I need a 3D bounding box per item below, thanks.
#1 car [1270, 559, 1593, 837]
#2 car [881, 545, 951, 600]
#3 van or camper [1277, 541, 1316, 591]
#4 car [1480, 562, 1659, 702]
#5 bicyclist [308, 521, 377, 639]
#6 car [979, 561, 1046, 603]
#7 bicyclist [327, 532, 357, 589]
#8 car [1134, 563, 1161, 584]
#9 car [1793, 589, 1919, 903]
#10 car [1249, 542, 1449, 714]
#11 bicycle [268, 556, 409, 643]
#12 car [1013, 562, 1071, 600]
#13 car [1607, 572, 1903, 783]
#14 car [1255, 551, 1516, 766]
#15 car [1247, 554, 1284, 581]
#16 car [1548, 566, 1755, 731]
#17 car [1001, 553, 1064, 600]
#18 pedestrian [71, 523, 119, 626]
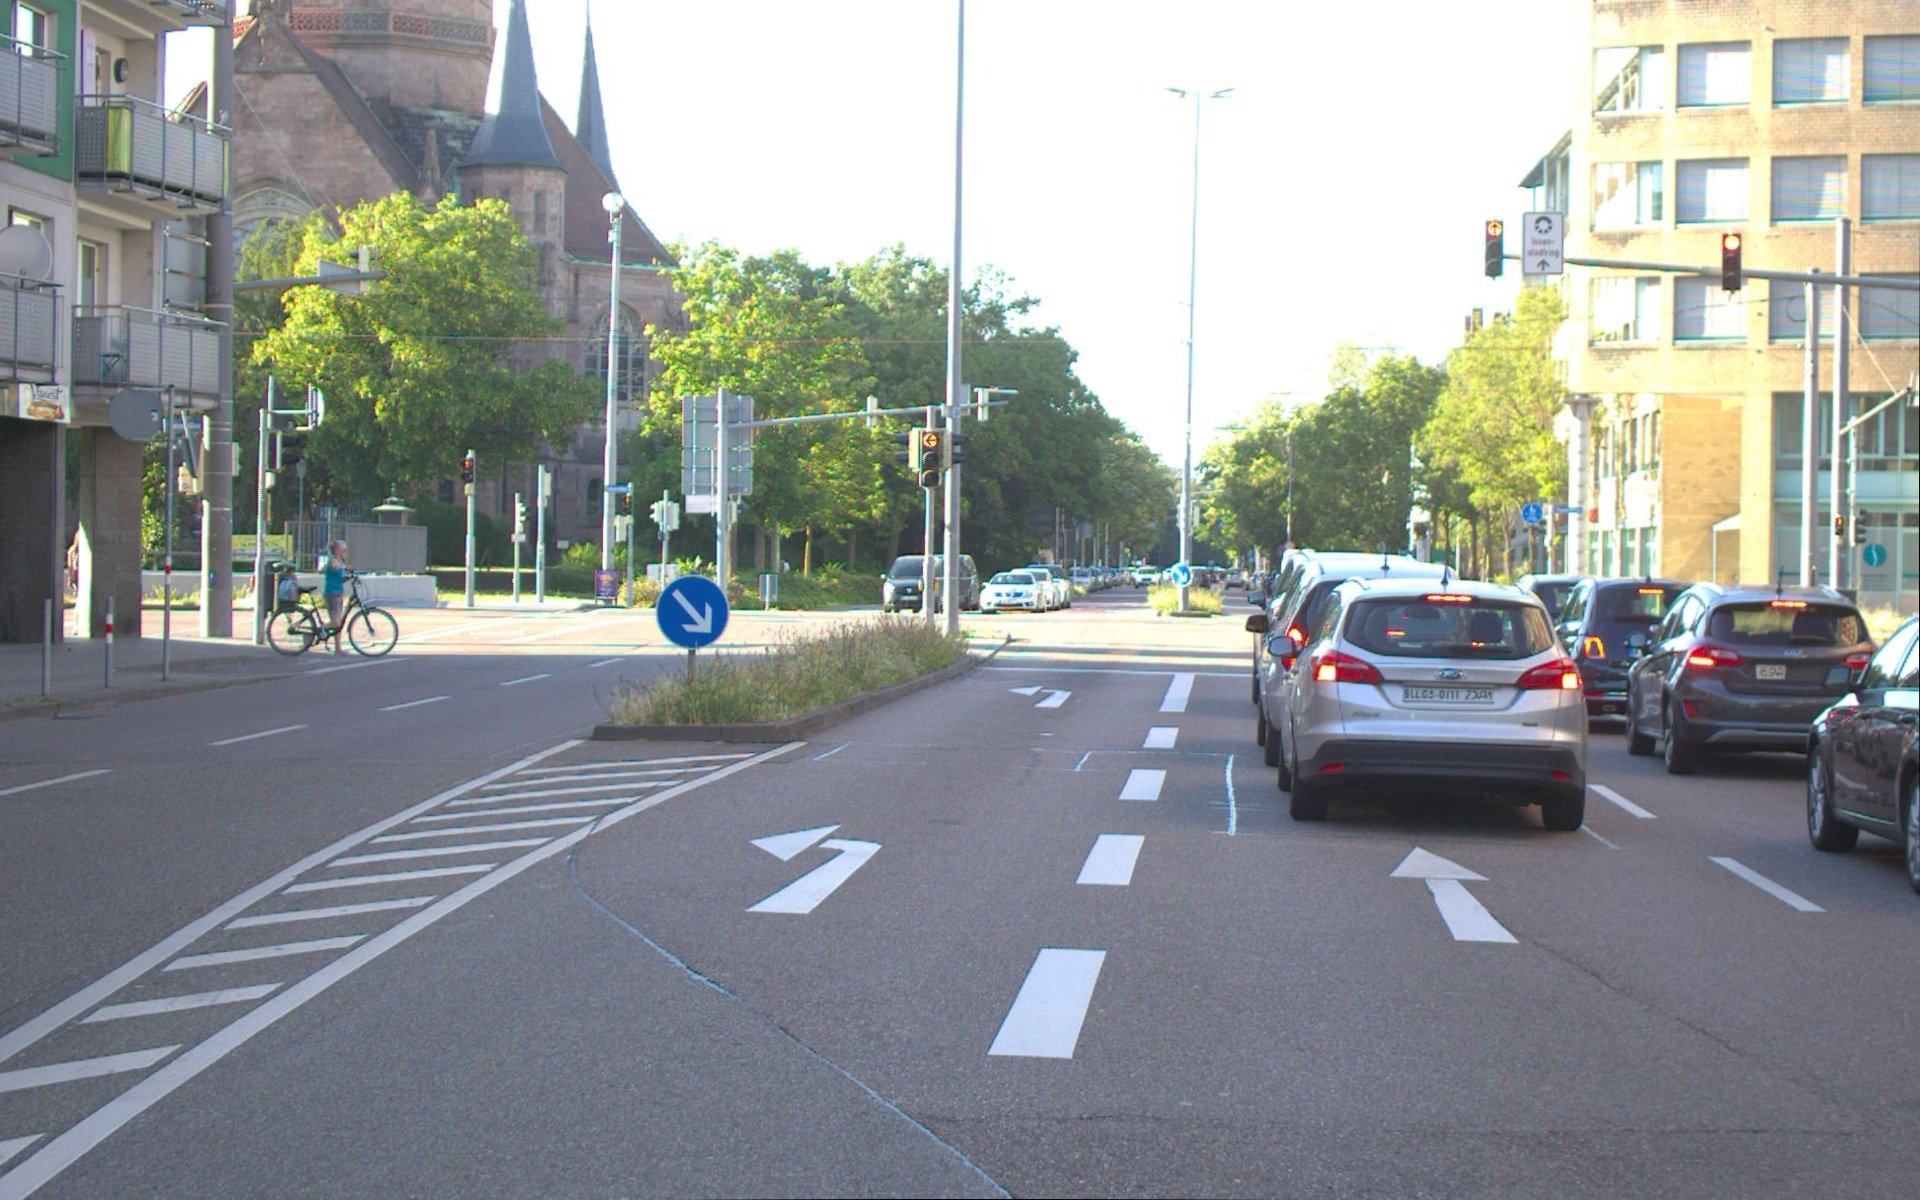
[{"bbox_3d":[2.890,0.533,21.835,1.708,1.504,4.308,2,1,4],"label":"car"},{"bbox_3d":[-1.345,-0.881,107.260,1.780,1.641,3.999,1,1,5],"label":"car"},{"bbox_3d":[18.118,-1.835,184.852,1.994,2.631,5.349,1,1,6],"label":"van or camper"},{"bbox_3d":[6.928,0.331,39.380,1.585,1.442,3.647,2,1,4],"label":"car"},{"bbox_3d":[-8.764,-0.291,48.826,0.782,1.654,0.901,1,1,2],"label":"bicyclist"},{"bbox_3d":[1.631,-0.566,106.467,1.780,1.232,3.999,1,1,5],"label":"car"},{"bbox_3d":[-18.434,-1.171,102.536,0.779,1.688,0.641,1,1,-4],"label":"bicyclist"},{"bbox_3d":[13.619,-1.917,249.823,1.780,1.444,3.999,1,1,5],"label":"car"},{"bbox_3d":[5.556,0.710,17.846,1.708,1.452,4.158,1,1,4],"label":"car"},{"bbox_3d":[3.944,0.233,35.431,1.784,1.627,4.478,1,1,3],"label":"car"},{"bbox_3d":[-8.781,-0.015,48.637,1.827,1.184,0.734,1,1,3],"label":"bicycle"},{"bbox_3d":[2.900,-0.672,120.342,1.780,1.232,3.999,1,1,5],"label":"car"},{"bbox_3d":[6.349,0.564,27.860,1.651,1.479,4.239,2,1,4],"label":"car"},{"bbox_3d":[3.325,0.409,27.448,1.804,1.563,3.618,1,1,3],"label":"car"},{"bbox_3d":[19.163,-2.045,215.964,1.993,1.587,4.000,1,1,1],"label":"car"},{"bbox_3d":[6.797,0.435,34.059,1.489,1.500,3.479,1,1,3],"label":"car"},{"bbox_3d":[2.401,-0.782,112.996,1.780,1.459,3.999,1,1,5],"label":"car"},{"bbox_3d":[-13.841,-0.415,55.004,0.468,1.636,0.576,1,1,24],"label":"pedestrian"}]
